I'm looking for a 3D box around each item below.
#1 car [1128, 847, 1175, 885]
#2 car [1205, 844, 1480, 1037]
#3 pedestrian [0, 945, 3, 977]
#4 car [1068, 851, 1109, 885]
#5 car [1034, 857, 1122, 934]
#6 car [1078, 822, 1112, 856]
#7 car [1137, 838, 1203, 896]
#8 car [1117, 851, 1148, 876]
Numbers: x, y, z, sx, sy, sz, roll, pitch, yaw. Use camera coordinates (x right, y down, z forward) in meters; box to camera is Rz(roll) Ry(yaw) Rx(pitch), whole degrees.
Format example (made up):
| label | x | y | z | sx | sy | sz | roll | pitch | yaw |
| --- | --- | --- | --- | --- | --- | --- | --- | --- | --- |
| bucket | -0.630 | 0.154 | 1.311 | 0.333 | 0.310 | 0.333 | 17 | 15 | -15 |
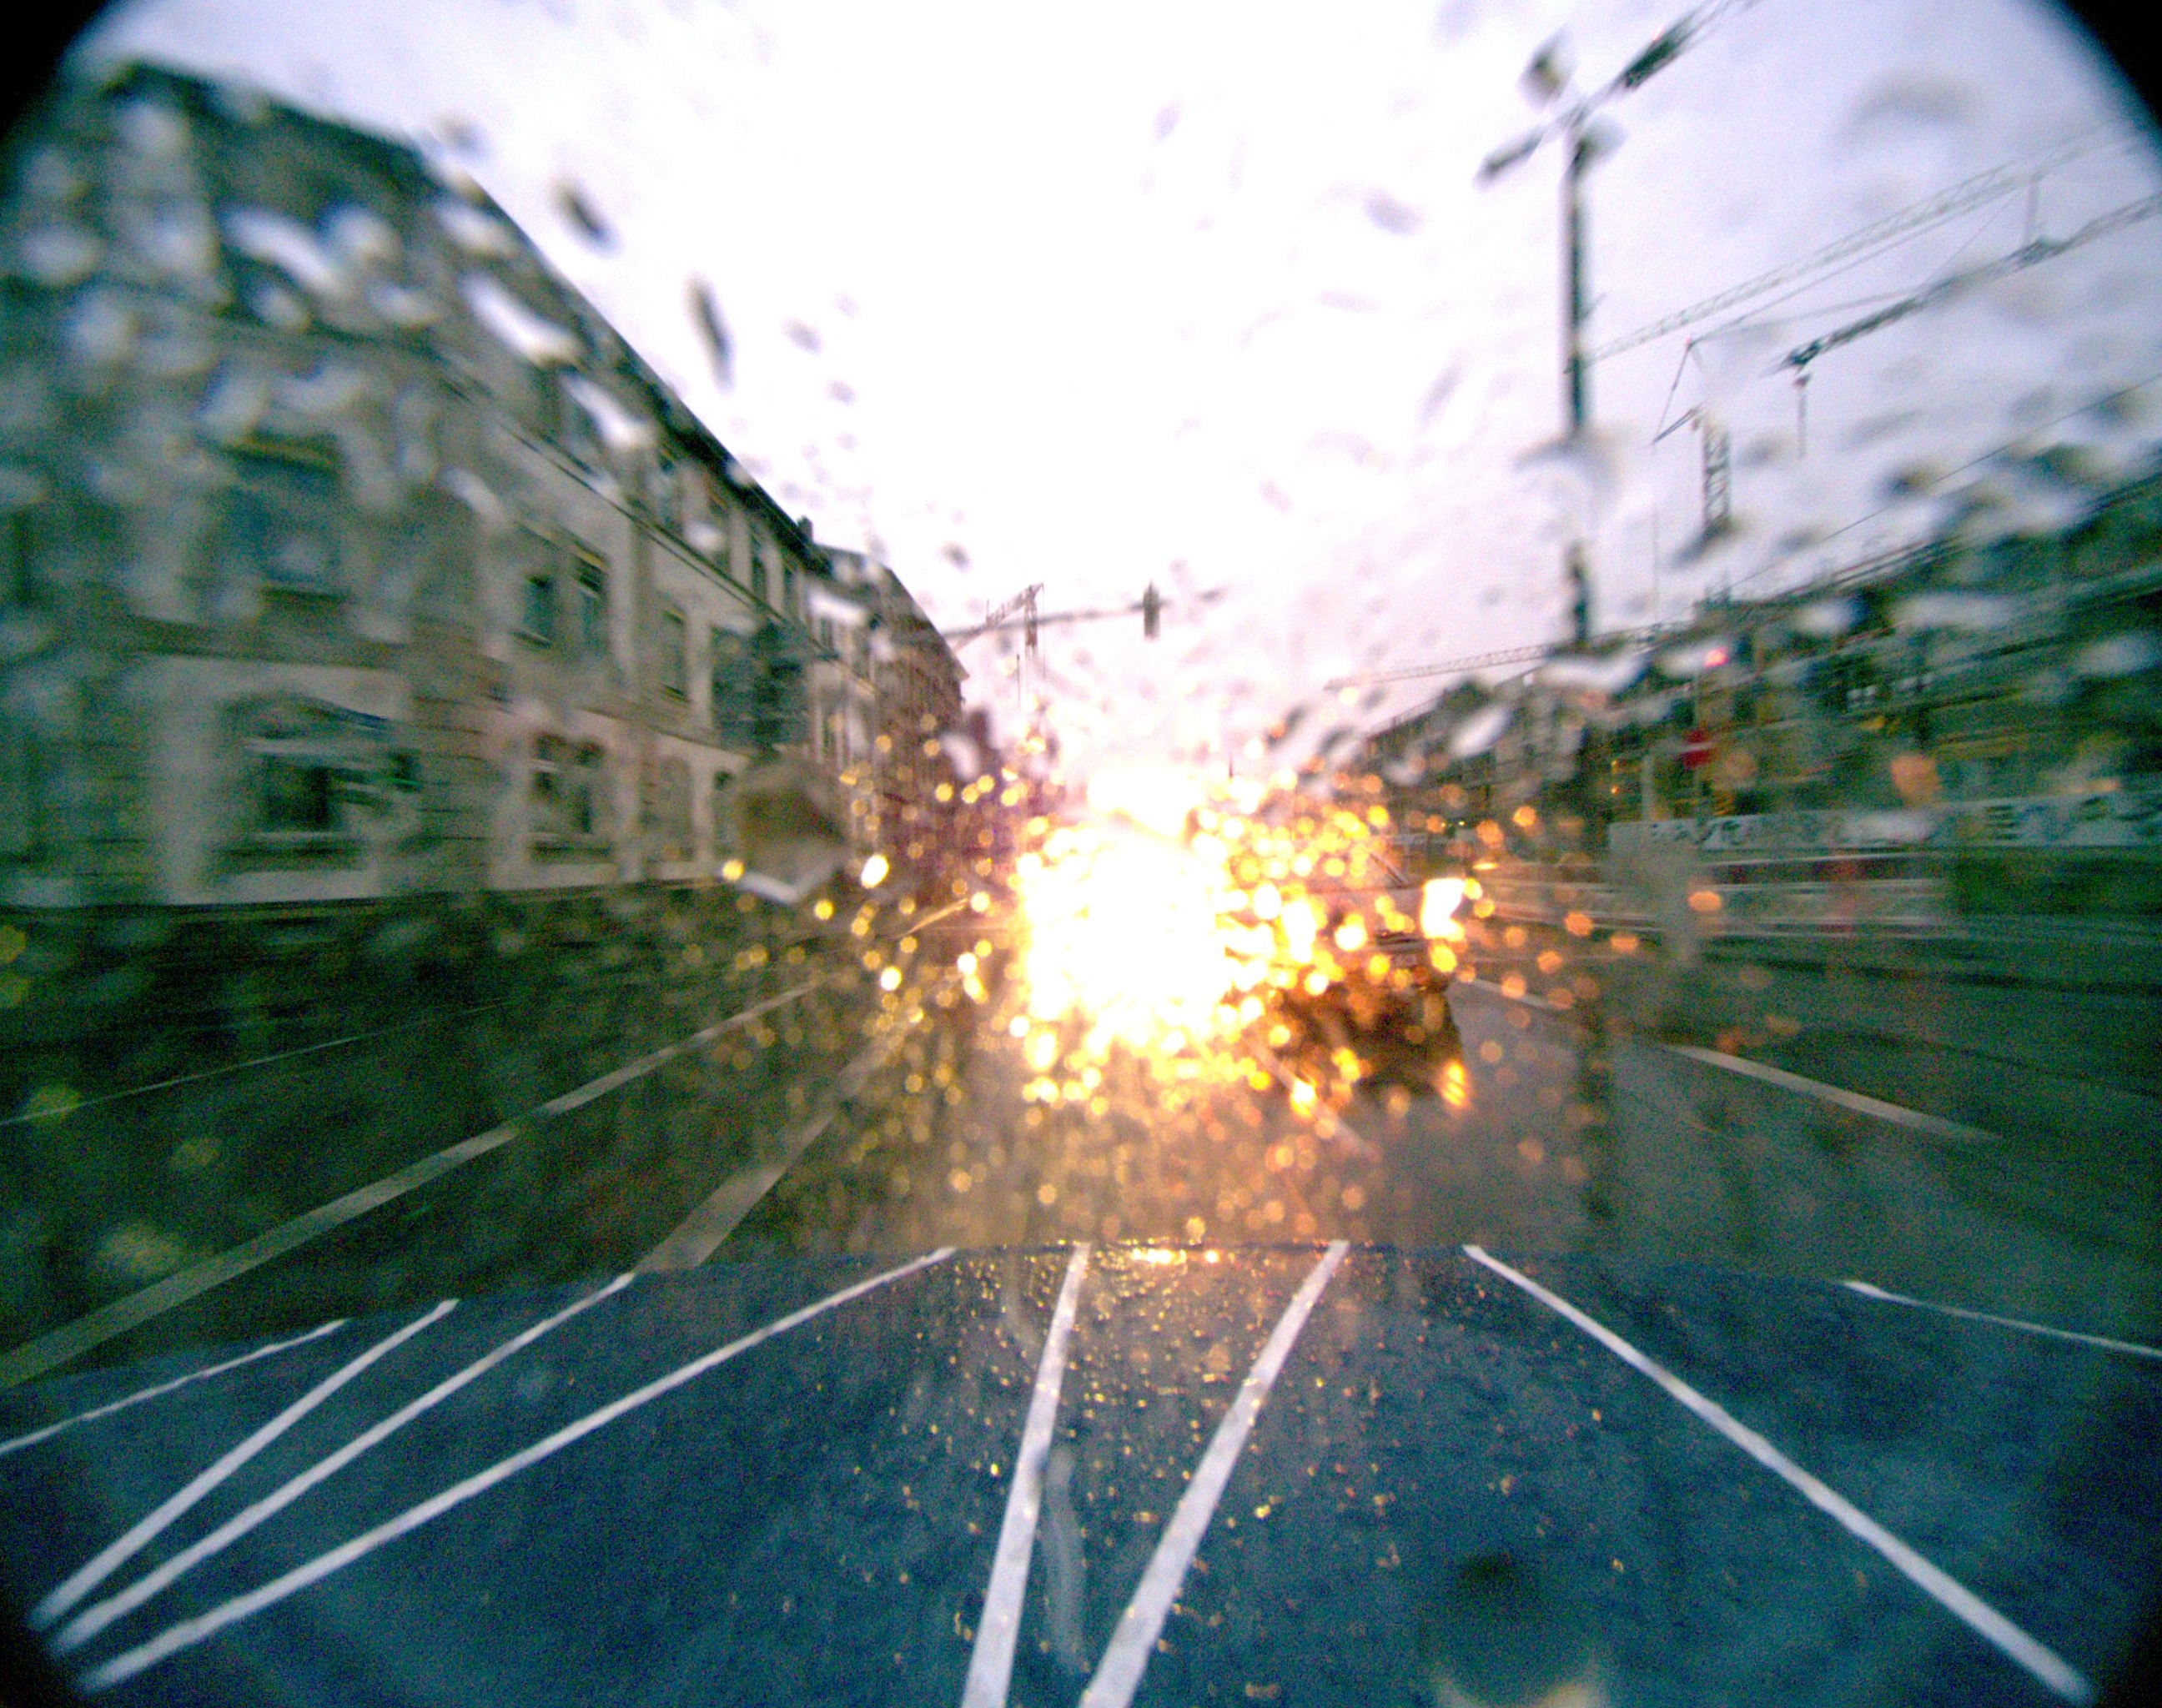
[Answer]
| label | x | y | z | sx | sy | sz | roll | pitch | yaw |
| --- | --- | --- | --- | --- | --- | --- | --- | --- | --- |
| car | 3.440 | 0.547 | 37.872 | 1.844 | 1.644 | 4.323 | -3 | 1 | 0 |
| car | 2.599 | 0.735 | 8.614 | 1.764 | 1.585 | 3.999 | -3 | 1 | 1 |
| pedestrian | -18.378 | 1.062 | 12.247 | 0.976 | 1.969 | 0.869 | -2 | 1 | 23 |
| car | 0.320 | 0.626 | 36.500 | 1.764 | 1.443 | 3.999 | -3 | 1 | -1 |
| car | -0.089 | 0.864 | 17.801 | 1.764 | 1.443 | 3.999 | -3 | 1 | -1 |
| car | 0.825 | -0.928 | 46.532 | 1.858 | 1.886 | 3.999 | -3 | 1 | -1 |
| car | 2.937 | 0.365 | 25.848 | 1.857 | 1.723 | 4.000 | -3 | 1 | 2 |
| car | 3.521 | 0.610 | 52.361 | 1.844 | 1.547 | 3.999 | -3 | 1 | 1 |
